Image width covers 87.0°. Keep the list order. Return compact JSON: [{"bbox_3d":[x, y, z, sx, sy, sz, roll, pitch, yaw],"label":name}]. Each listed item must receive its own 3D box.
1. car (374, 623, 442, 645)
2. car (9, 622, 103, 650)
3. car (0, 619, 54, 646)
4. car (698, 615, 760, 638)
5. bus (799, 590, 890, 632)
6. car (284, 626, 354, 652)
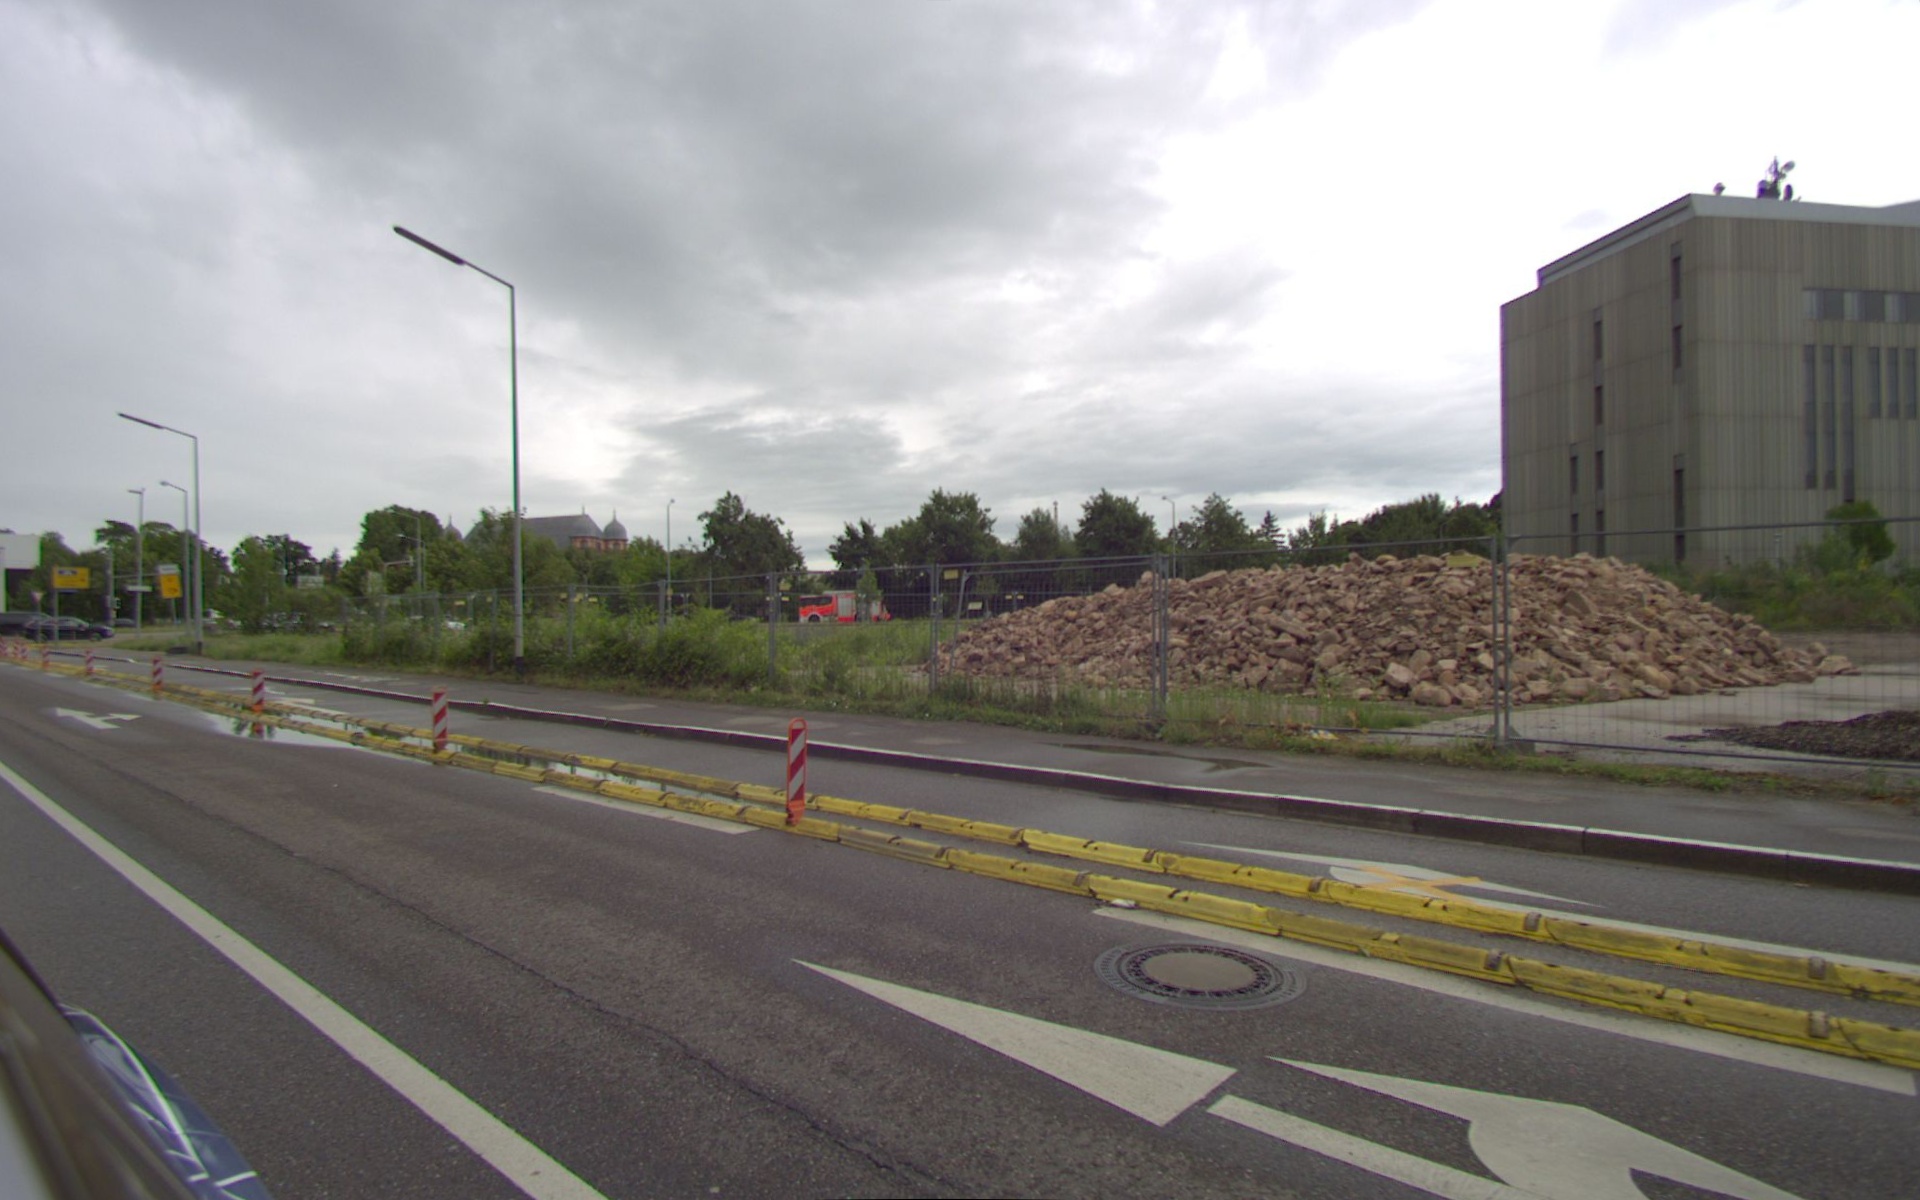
[{"bbox_3d":[-40.879,2.478,75.109,4.356,1.468,1.838,-1,0,-27],"label":"car"},{"bbox_3d":[-57.565,2.260,64.504,4.409,1.578,1.923,-1,0,-45],"label":"car"},{"bbox_3d":[-64.193,2.213,68.586,3.948,1.728,1.934,-1,0,-37],"label":"car"},{"bbox_3d":[-18.744,2.147,82.093,4.670,1.680,1.927,-1,0,-18],"label":"car"},{"bbox_3d":[-10.875,1.045,94.940,8.264,3.676,2.739,-1,-1,-8],"label":"bus"},{"bbox_3d":[-50.226,3.039,79.365,4.408,1.918,1.928,-1,0,-26],"label":"car"}]
